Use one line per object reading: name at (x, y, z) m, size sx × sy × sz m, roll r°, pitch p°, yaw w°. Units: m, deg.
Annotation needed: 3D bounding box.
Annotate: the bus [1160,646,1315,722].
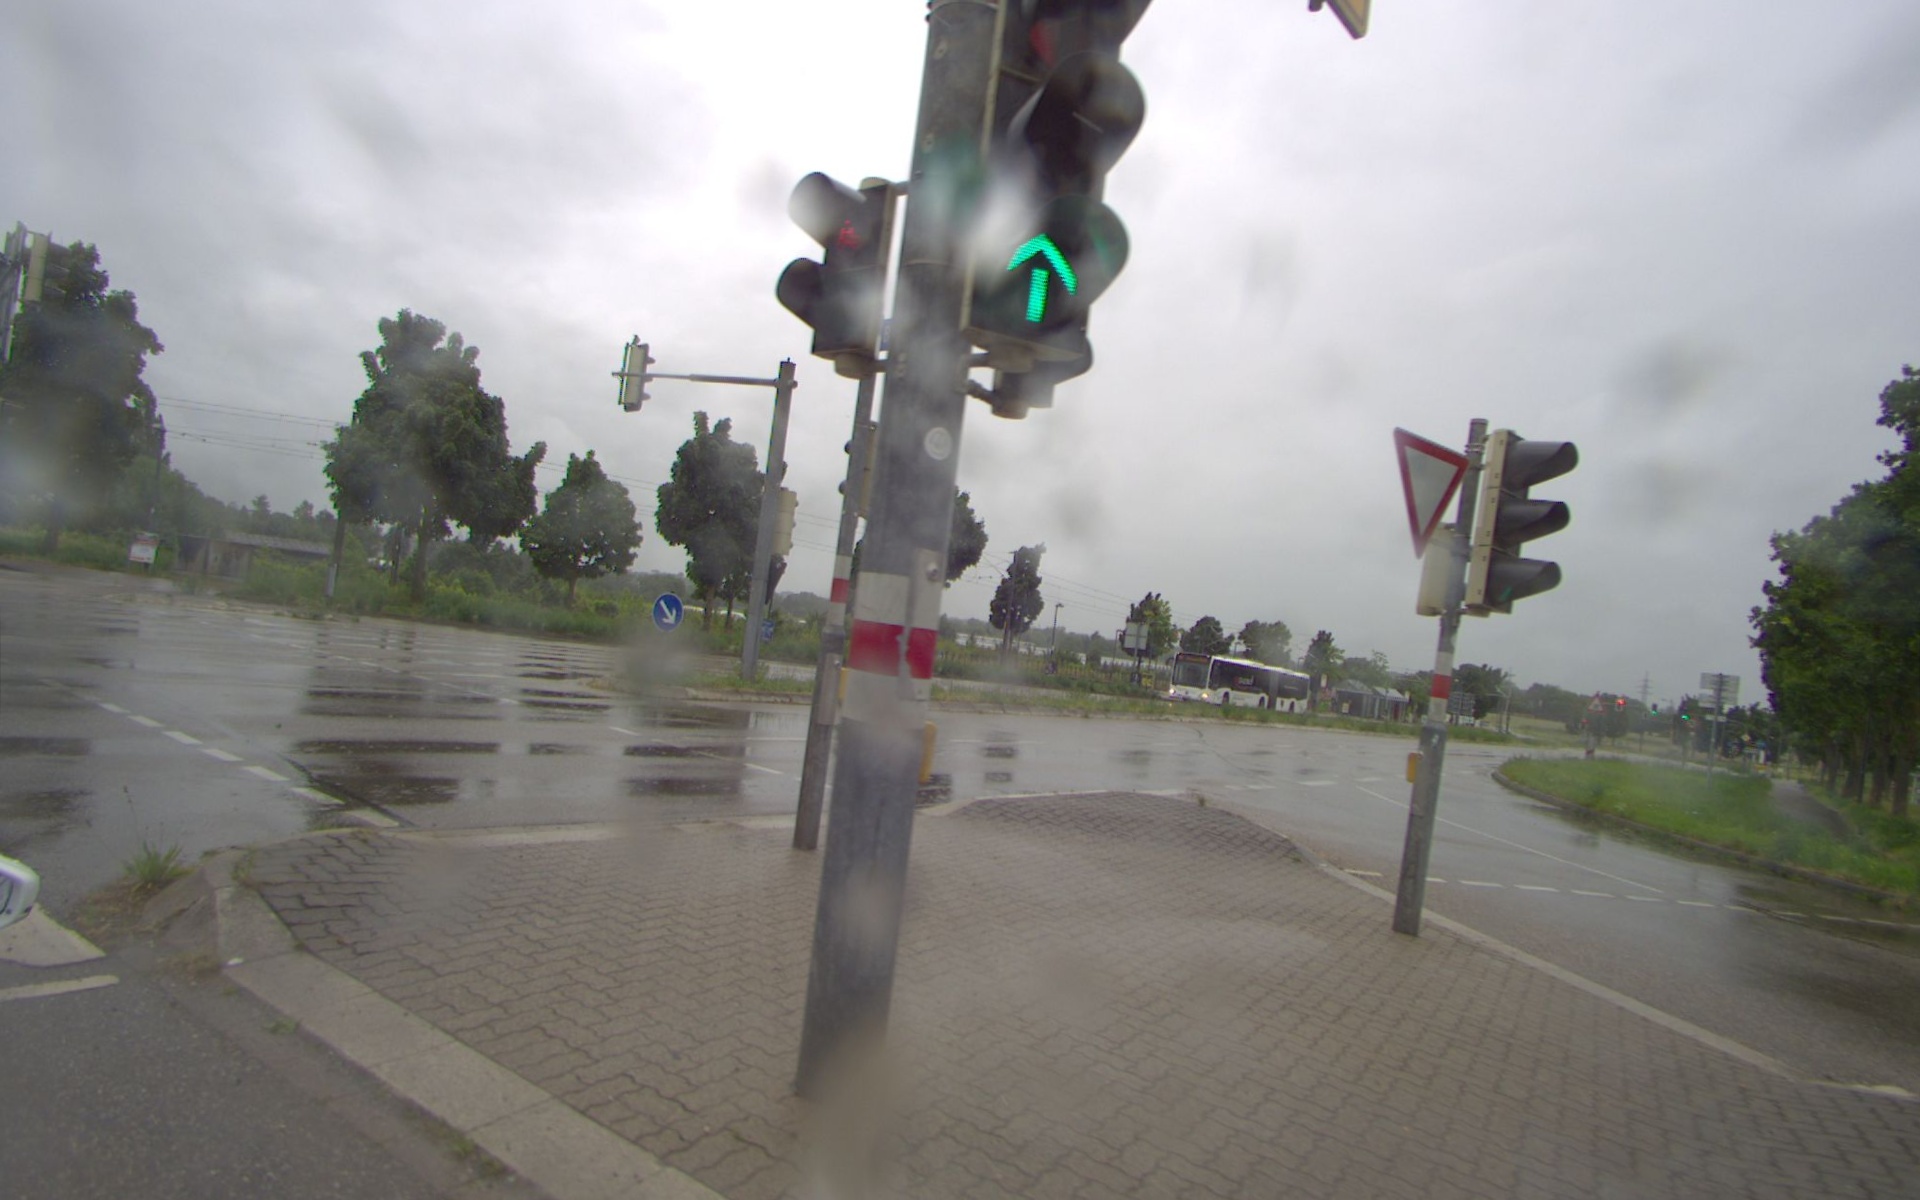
bus at (18.325, 5.644, 64.605) m, size 2.714 × 3.827 × 18.387 m, roll 7°, pitch -2°, yaw 37°
